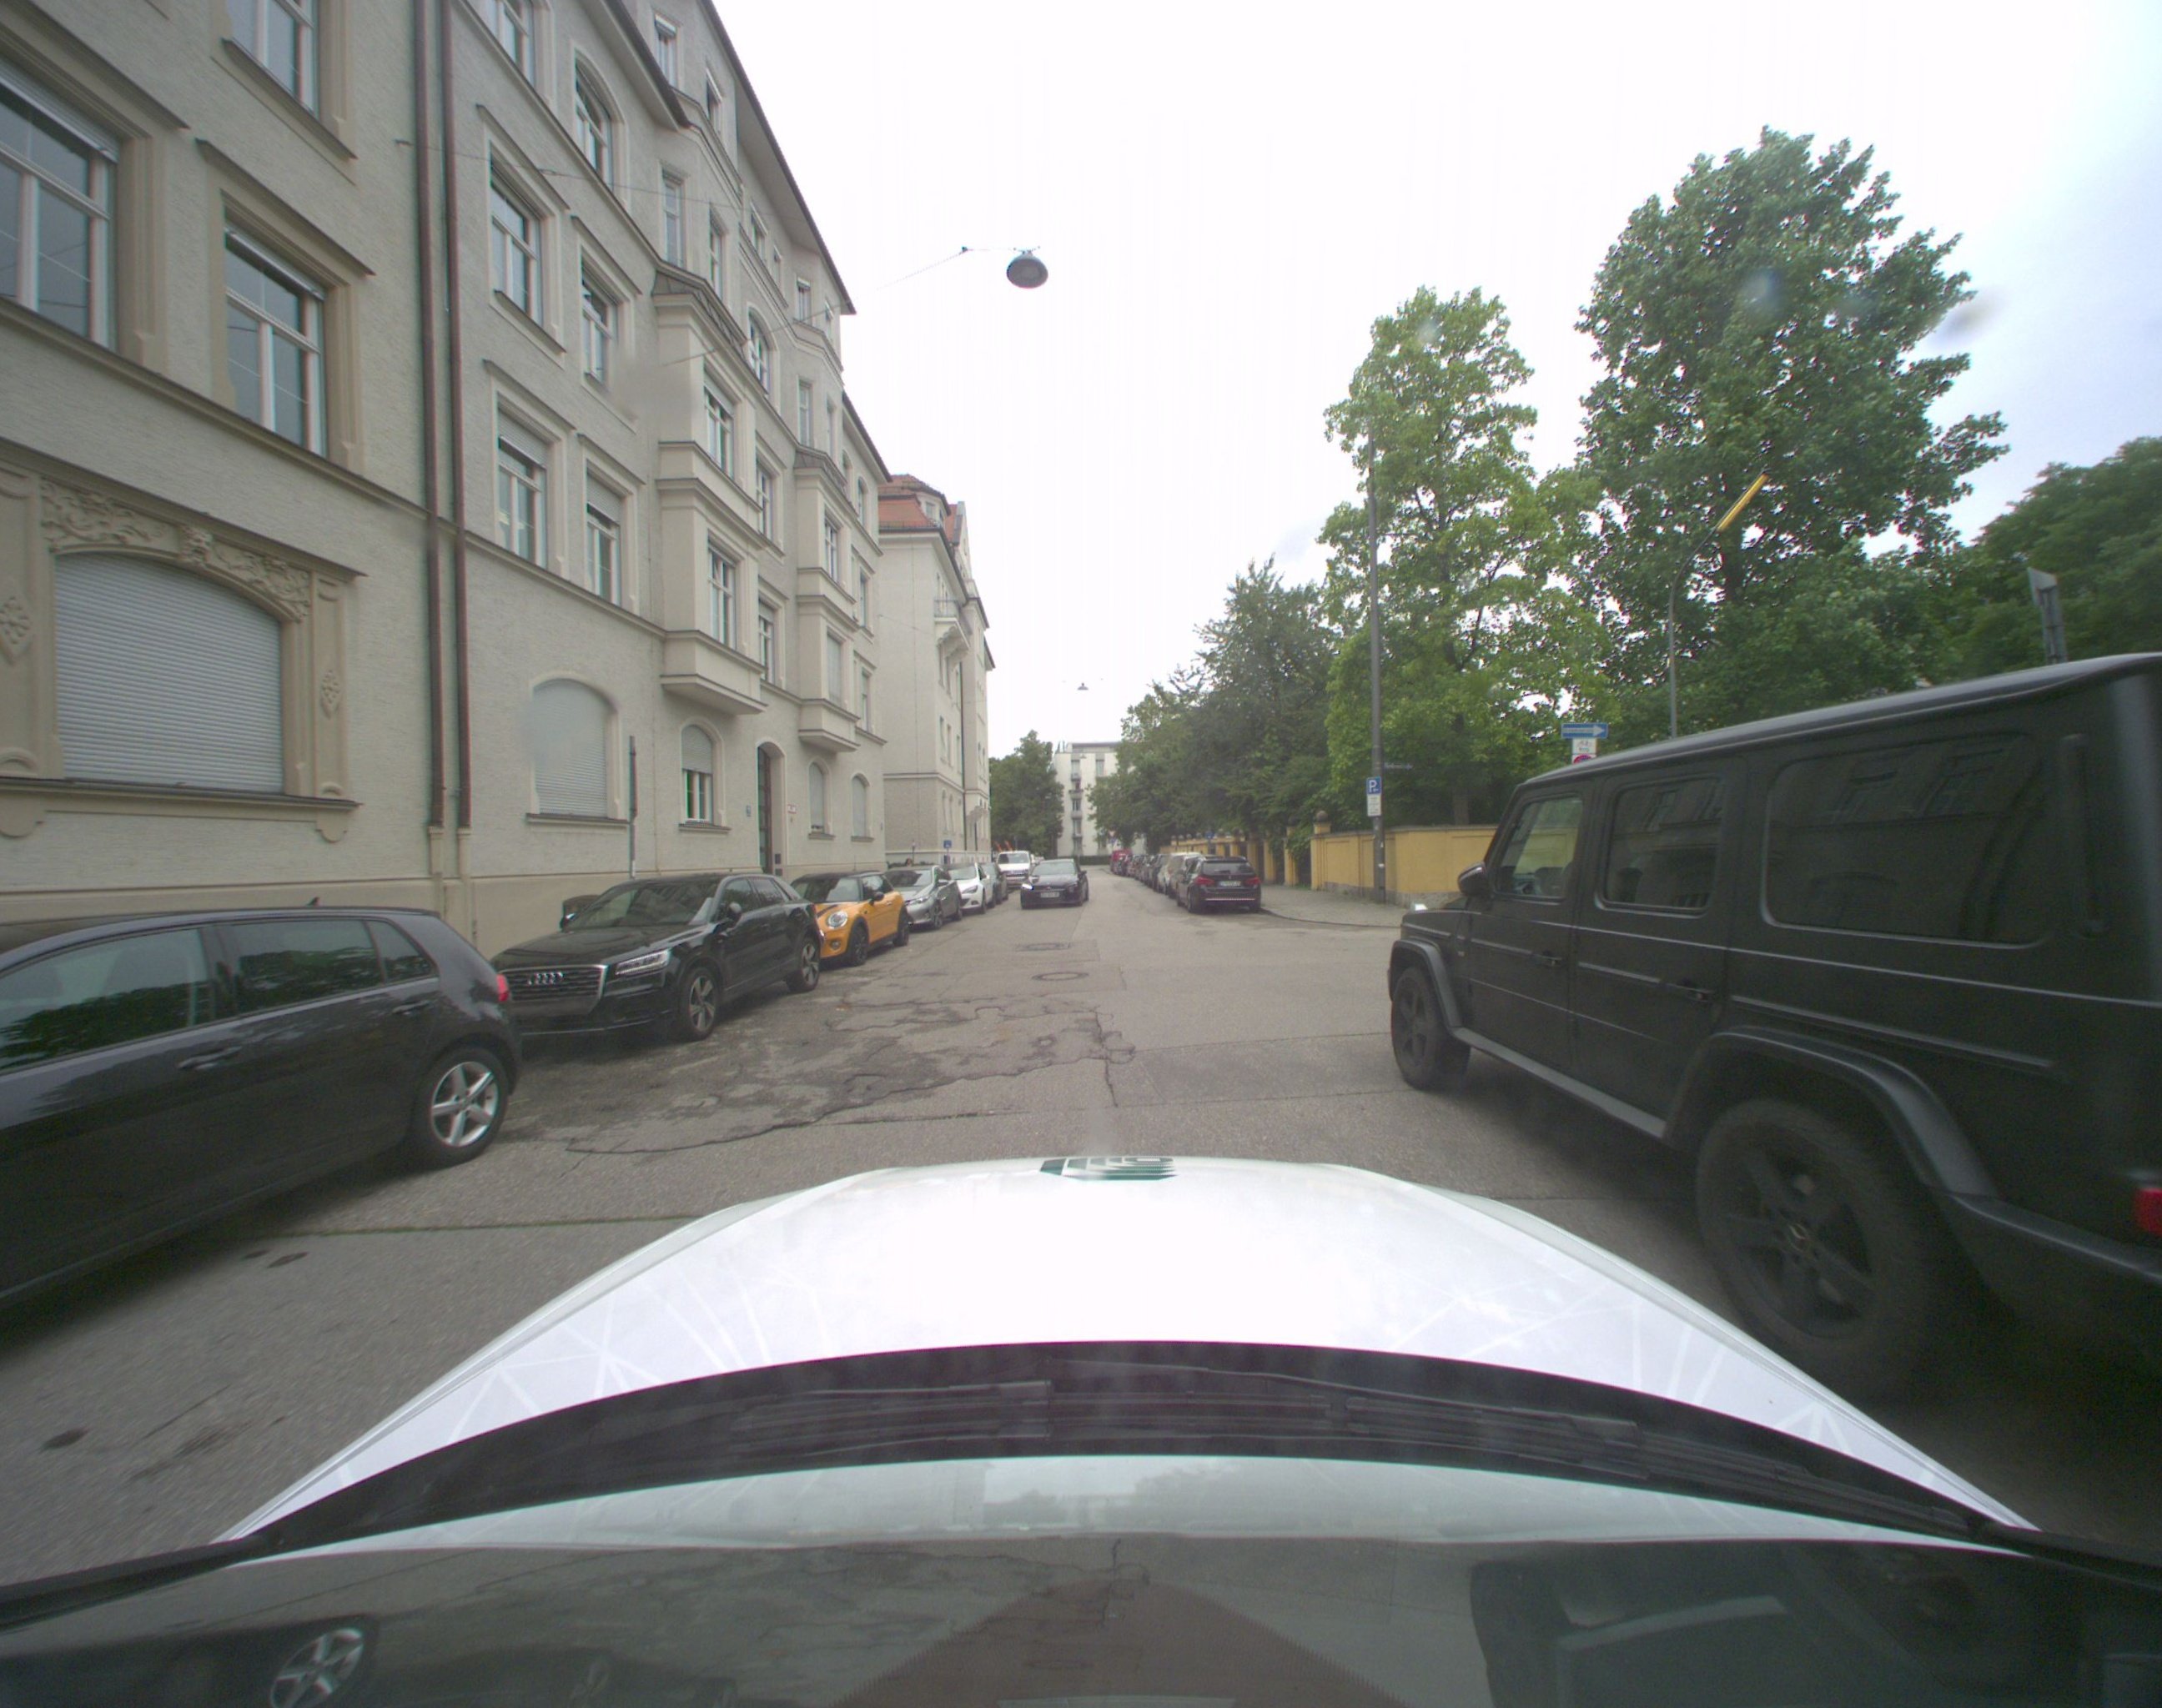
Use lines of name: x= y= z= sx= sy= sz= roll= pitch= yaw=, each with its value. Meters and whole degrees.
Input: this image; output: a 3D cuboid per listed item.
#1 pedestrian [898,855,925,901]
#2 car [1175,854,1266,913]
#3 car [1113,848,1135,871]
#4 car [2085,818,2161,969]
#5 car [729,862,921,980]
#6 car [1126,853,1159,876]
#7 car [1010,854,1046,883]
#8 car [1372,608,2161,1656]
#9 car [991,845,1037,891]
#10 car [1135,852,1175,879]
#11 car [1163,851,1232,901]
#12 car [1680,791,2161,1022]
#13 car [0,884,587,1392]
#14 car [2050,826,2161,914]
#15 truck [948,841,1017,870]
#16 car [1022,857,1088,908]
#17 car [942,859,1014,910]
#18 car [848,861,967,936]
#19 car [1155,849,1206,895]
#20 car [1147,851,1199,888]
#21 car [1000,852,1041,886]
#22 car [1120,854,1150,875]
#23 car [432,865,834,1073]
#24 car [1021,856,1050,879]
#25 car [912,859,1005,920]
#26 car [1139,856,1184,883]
pedestrian: x=-6.370 y=0.898 z=30.589 sx=0.789 sy=1.679 sz=0.700 roll=-2 pitch=0 yaw=0
car: x=3.598 y=0.720 z=21.705 sx=1.831 sy=1.413 sz=4.344 roll=0 pitch=-1 yaw=2
car: x=3.831 y=0.424 z=72.152 sx=1.828 sy=1.927 sz=4.009 roll=1 pitch=0 yaw=4
car: x=14.085 y=0.381 z=8.869 sx=4.229 sy=1.649 sz=1.961 roll=-2 pitch=2 yaw=-5
car: x=-4.053 y=0.978 z=13.619 sx=1.633 sy=1.499 sz=3.975 roll=-4 pitch=0 yaw=3
car: x=4.190 y=0.724 z=55.997 sx=1.833 sy=1.519 sz=3.945 roll=0 pitch=-1 yaw=-2
car: x=-3.520 y=0.923 z=54.542 sx=2.009 sy=1.726 sz=4.274 roll=-4 pitch=0 yaw=0
car: x=3.056 y=0.482 z=3.675 sx=1.943 sy=1.954 sz=4.668 roll=0 pitch=1 yaw=2
car: x=-3.443 y=0.688 z=42.600 sx=1.880 sy=2.127 sz=4.706 roll=-4 pitch=0 yaw=0
car: x=4.233 y=0.666 z=47.143 sx=1.833 sy=1.519 sz=3.945 roll=0 pitch=-1 yaw=-2
car: x=3.742 y=0.677 z=26.729 sx=1.648 sy=1.519 sz=3.792 roll=0 pitch=-1 yaw=-1
car: x=9.000 y=0.405 z=8.308 sx=4.521 sy=1.950 sz=1.901 roll=-2 pitch=2 yaw=-5
car: x=-4.241 y=0.996 z=3.144 sx=1.829 sy=1.435 sz=4.247 roll=-4 pitch=0 yaw=3
car: x=22.099 y=0.246 z=15.819 sx=4.587 sy=1.621 sz=1.996 roll=-1 pitch=-1 yaw=-6
truck: x=-11.685 y=0.146 z=97.068 sx=7.728 sy=3.241 sz=2.868 roll=-2 pitch=0 yaw=-35
car: x=-0.756 y=0.843 z=25.866 sx=1.868 sy=1.428 sz=4.408 roll=-2 pitch=0 yaw=0
car: x=-3.571 y=1.012 z=28.904 sx=1.830 sy=1.499 sz=4.275 roll=-4 pitch=0 yaw=1
car: x=-3.939 y=0.951 z=19.195 sx=1.719 sy=1.499 sz=3.933 roll=-3 pitch=-1 yaw=3
car: x=3.777 y=0.677 z=31.462 sx=1.509 sy=1.661 sz=3.673 roll=0 pitch=-1 yaw=0
car: x=4.074 y=0.664 z=36.654 sx=1.833 sy=1.551 sz=3.945 roll=0 pitch=-1 yaw=-2
car: x=-3.553 y=0.861 z=48.734 sx=2.008 sy=1.771 sz=4.413 roll=-4 pitch=0 yaw=0
car: x=3.948 y=0.790 z=60.185 sx=1.833 sy=1.519 sz=3.945 roll=0 pitch=-1 yaw=-2
car: x=-4.191 y=0.952 z=8.508 sx=1.746 sy=1.499 sz=4.021 roll=-4 pitch=0 yaw=3
car: x=-3.654 y=1.031 z=66.275 sx=2.008 sy=1.634 sz=4.413 roll=-4 pitch=0 yaw=0
car: x=-3.499 y=0.974 z=24.081 sx=1.829 sy=1.438 sz=4.278 roll=-4 pitch=0 yaw=3
car: x=4.109 y=0.771 z=42.219 sx=1.833 sy=1.346 sz=3.945 roll=0 pitch=-1 yaw=-2
